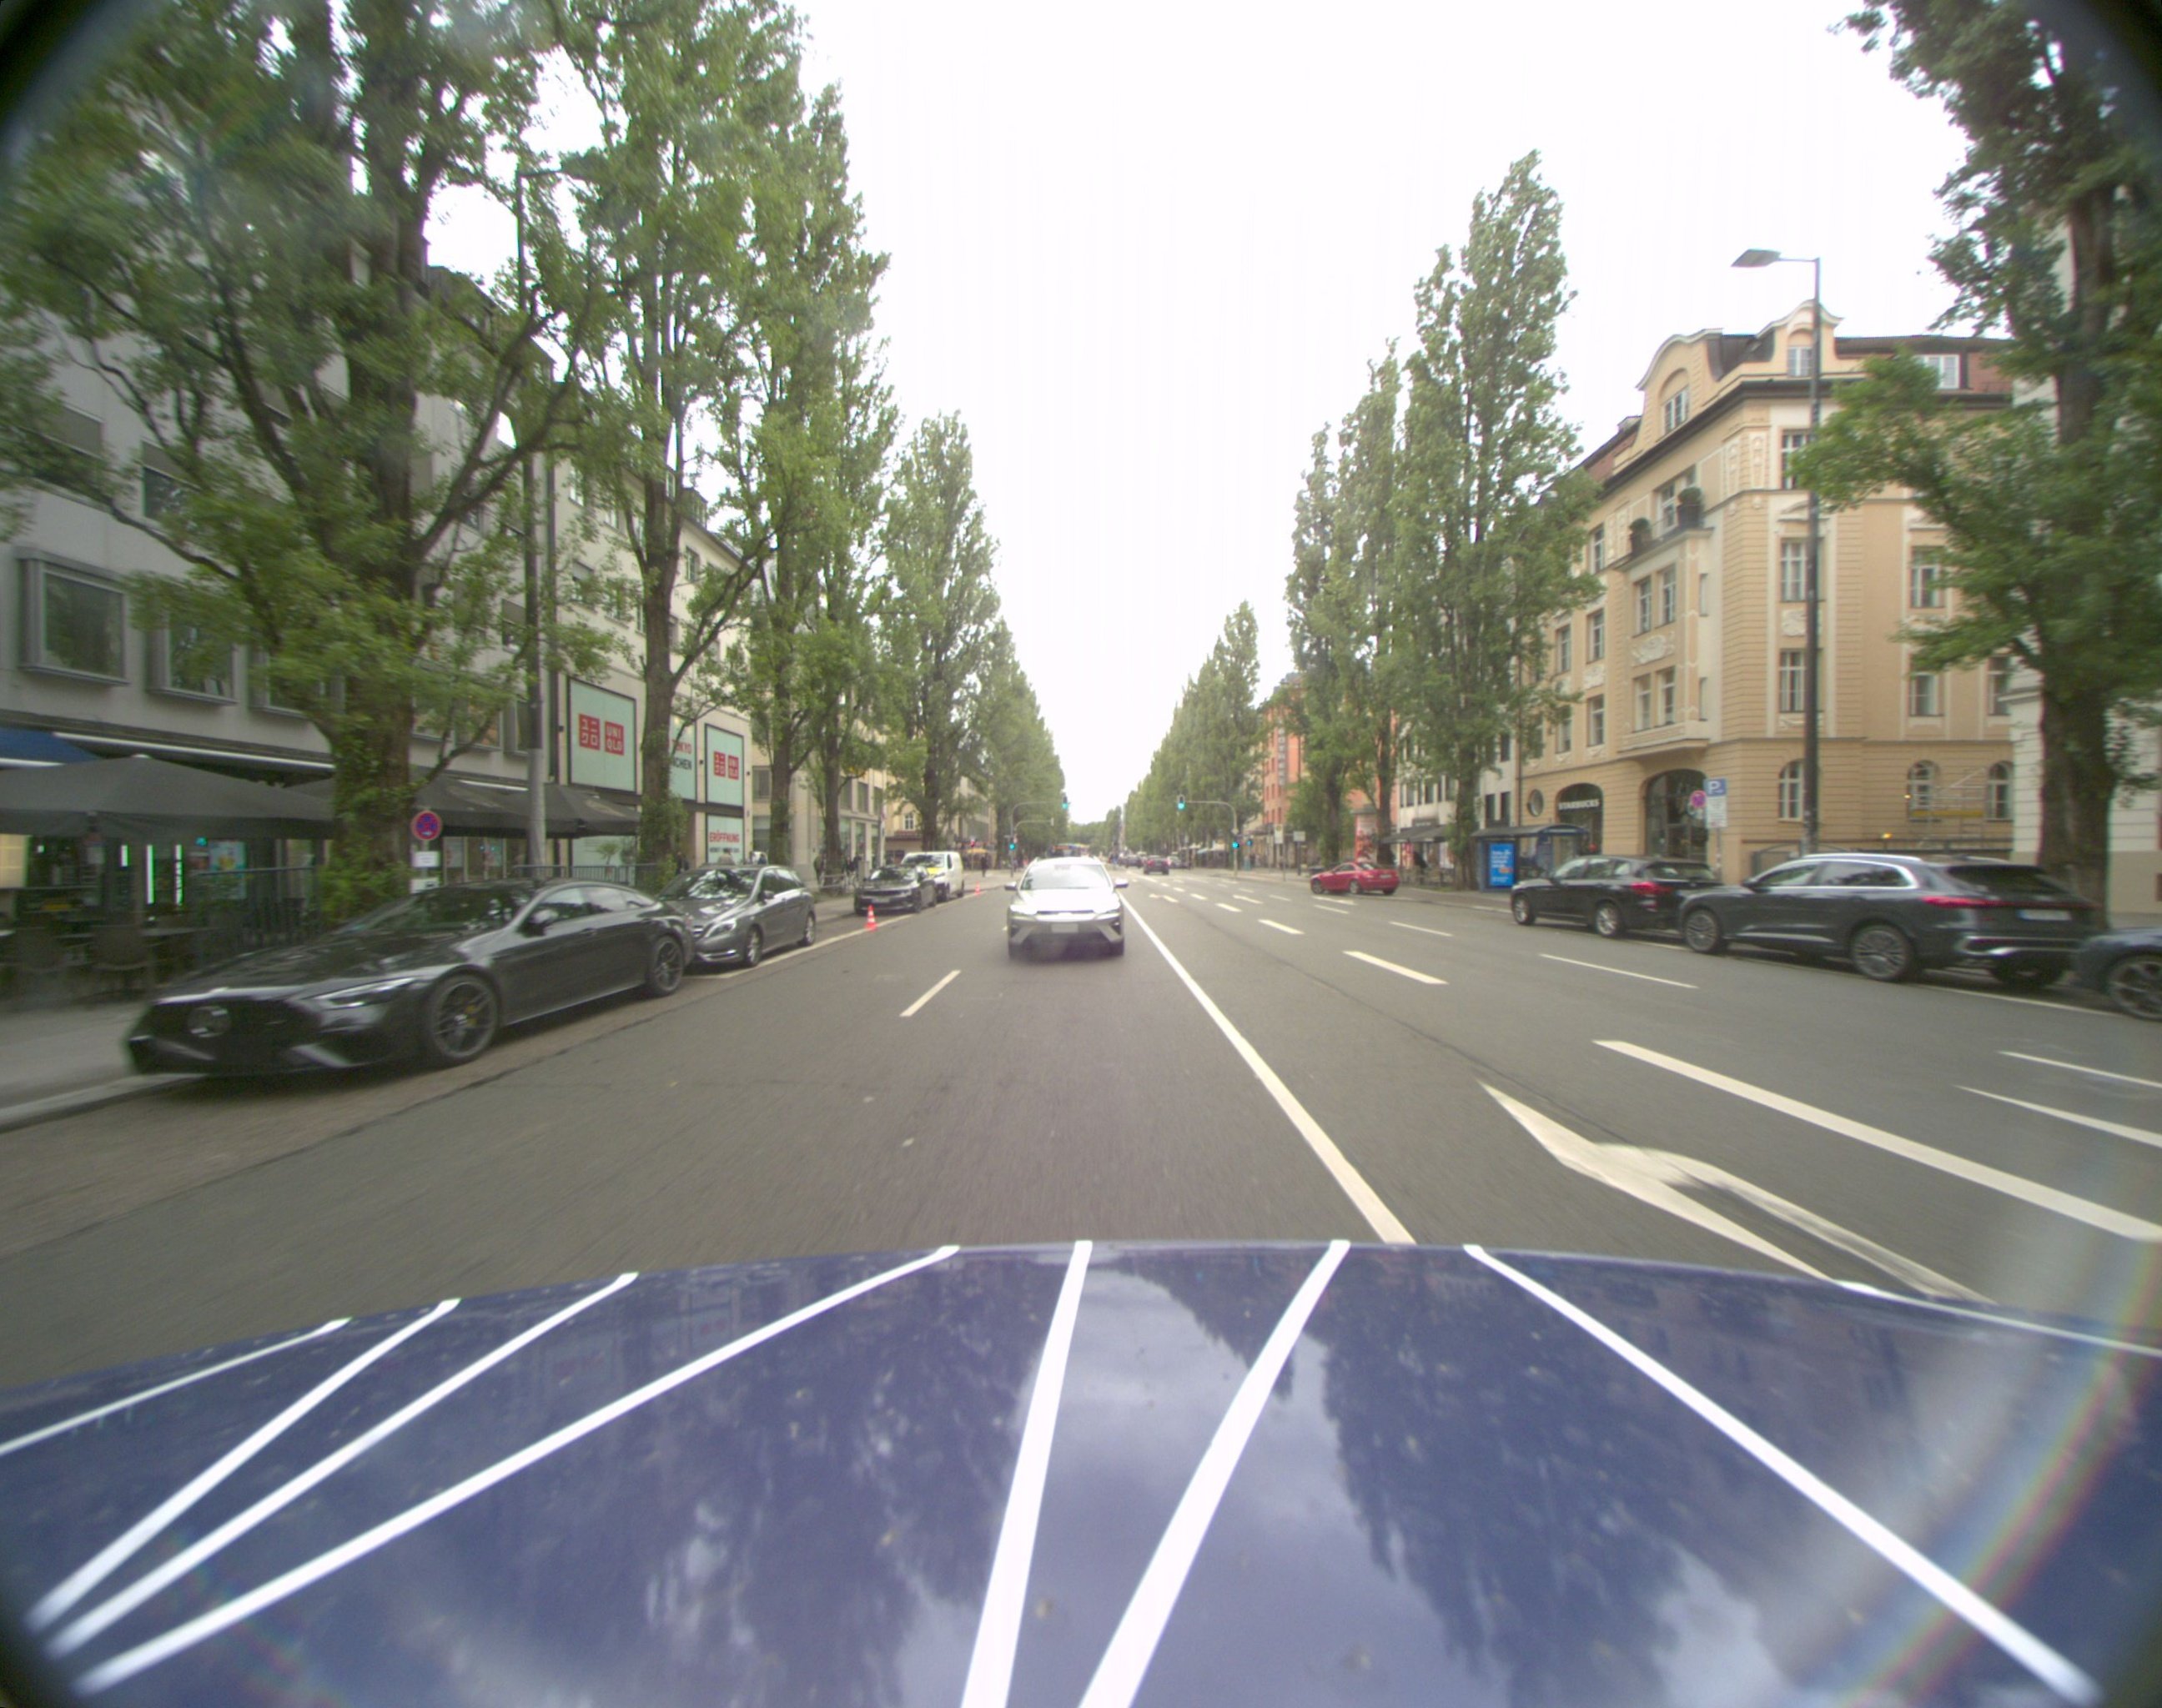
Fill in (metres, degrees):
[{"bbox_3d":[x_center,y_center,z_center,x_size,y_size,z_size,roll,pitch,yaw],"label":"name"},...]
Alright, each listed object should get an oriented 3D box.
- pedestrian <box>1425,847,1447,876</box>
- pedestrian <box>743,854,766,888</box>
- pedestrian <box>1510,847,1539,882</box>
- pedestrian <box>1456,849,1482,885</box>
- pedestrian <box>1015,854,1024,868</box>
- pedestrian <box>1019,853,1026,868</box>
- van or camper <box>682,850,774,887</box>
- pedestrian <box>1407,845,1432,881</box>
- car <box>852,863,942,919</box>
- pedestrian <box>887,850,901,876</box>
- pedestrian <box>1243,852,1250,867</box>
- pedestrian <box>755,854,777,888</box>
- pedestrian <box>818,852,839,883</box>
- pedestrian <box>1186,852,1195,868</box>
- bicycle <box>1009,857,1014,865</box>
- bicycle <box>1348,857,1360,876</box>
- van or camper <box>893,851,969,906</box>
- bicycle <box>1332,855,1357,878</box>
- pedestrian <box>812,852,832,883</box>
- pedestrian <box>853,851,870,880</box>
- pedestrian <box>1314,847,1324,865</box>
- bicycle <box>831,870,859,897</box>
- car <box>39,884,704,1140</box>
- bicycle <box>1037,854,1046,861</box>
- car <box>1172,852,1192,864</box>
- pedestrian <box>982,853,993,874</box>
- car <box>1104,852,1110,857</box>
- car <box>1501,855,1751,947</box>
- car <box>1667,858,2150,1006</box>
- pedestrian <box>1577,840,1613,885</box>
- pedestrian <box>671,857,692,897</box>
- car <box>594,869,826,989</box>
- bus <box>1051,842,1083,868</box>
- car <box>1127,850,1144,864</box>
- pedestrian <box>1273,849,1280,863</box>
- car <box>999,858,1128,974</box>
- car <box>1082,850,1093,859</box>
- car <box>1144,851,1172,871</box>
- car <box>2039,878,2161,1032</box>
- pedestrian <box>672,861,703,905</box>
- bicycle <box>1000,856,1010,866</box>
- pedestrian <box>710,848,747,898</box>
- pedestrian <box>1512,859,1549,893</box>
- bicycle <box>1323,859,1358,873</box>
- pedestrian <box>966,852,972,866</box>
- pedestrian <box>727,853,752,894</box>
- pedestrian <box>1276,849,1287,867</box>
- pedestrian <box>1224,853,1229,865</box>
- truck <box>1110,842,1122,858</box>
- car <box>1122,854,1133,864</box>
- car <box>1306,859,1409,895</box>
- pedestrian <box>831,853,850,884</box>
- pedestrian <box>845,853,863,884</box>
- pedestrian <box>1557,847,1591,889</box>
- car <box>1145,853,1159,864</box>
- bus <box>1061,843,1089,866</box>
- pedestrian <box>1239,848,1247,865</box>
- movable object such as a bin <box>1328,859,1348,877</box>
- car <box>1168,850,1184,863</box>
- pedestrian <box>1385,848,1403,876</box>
[{"bbox_3d":[21.671,0.427,46.400,0.845,1.734,0.954,-2,1,2],"label":"pedestrian"},{"bbox_3d":[-16.571,0.839,38.596,0.752,1.708,0.963,0,1,1],"label":"pedestrian"},{"bbox_3d":[20.334,0.460,34.833,0.752,1.558,0.989,-2,1,1],"label":"pedestrian"},{"bbox_3d":[18.749,0.623,36.717,0.908,1.734,0.820,-1,1,6],"label":"pedestrian"},{"bbox_3d":[-6.880,0.773,84.638,0.767,1.509,0.620,2,4,45],"label":"pedestrian"},{"bbox_3d":[-6.643,0.739,86.748,0.767,1.600,0.864,0,1,-3],"label":"pedestrian"},{"bbox_3d":[-19.413,0.795,41.898,4.113,1.856,1.898,-2,1,4],"label":"van or camper"},{"bbox_3d":[16.631,0.434,37.334,0.908,1.734,0.820,0,1,6],"label":"pedestrian"},{"bbox_3d":[-5.494,1.050,23.251,1.724,1.434,4.353,-3,0,-1],"label":"car"},{"bbox_3d":[-13.515,0.649,54.969,0.820,1.807,0.890,0,1,-1],"label":"pedestrian"},{"bbox_3d":[19.656,0.663,90.121,0.631,1.679,0.519,-2,1,2],"label":"pedestrian"},{"bbox_3d":[-15.773,0.829,38.036,0.653,1.653,0.963,0,1,1],"label":"pedestrian"},{"bbox_3d":[-13.930,0.742,41.945,0.752,1.667,0.963,0,1,2],"label":"pedestrian"},{"bbox_3d":[12.396,0.664,85.940,0.736,1.785,0.994,-2,1,19],"label":"pedestrian"},{"bbox_3d":[-8.537,0.883,93.695,0.510,1.042,1.770,0,0,-1],"label":"bicycle"},{"bbox_3d":[15.969,0.718,44.490,0.507,1.082,1.812,-1,1,24],"label":"bicycle"},{"bbox_3d":[-5.591,0.857,28.986,1.873,1.872,4.902,-1,0,0],"label":"van or camper"},{"bbox_3d":[16.009,0.764,46.140,1.958,1.282,0.507,-3,1,-42],"label":"bicycle"},{"bbox_3d":[-14.656,0.764,42.993,0.752,1.708,0.963,-1,1,2],"label":"pedestrian"},{"bbox_3d":[-14.135,0.723,48.980,0.820,1.807,0.890,0,1,-1],"label":"pedestrian"},{"bbox_3d":[23.240,0.211,74.311,0.780,1.756,0.692,-1,1,1],"label":"pedestrian"},{"bbox_3d":[-9.465,1.178,30.526,0.365,1.032,1.731,0,0,8],"label":"bicycle"},{"bbox_3d":[-5.742,1.110,7.286,1.883,1.424,4.803,0,0,-1],"label":"car"},{"bbox_3d":[-7.879,0.693,152.940,0.829,1.403,2.594,-2,0,-25],"label":"bicycle"},{"bbox_3d":[12.431,0.451,93.934,1.707,1.430,4.589,1,1,-1],"label":"car"},{"bbox_3d":[-7.695,0.789,62.629,0.710,1.748,0.752,-1,1,2],"label":"pedestrian"},{"bbox_3d":[8.879,0.263,257.615,1.848,1.626,4.575,1,0,1],"label":"car"},{"bbox_3d":[11.070,0.842,15.975,1.825,1.608,4.715,0,0,-1],"label":"car"},{"bbox_3d":[10.979,0.886,10.762,1.807,1.585,4.630,0,0,1],"label":"car"},{"bbox_3d":[21.151,0.344,31.282,0.802,1.777,0.912,-2,1,1],"label":"pedestrian"},{"bbox_3d":[-16.445,0.936,31.269,0.673,1.600,0.826,-1,1,-33],"label":"pedestrian"},{"bbox_3d":[-5.665,1.045,12.291,1.821,1.497,4.231,0,0,-3],"label":"car"},{"bbox_3d":[-1.512,0.103,90.242,2.805,2.886,12.860,0,0,3],"label":"bus"},{"bbox_3d":[7.180,0.354,99.897,1.918,1.671,4.586,1,0,0],"label":"car"},{"bbox_3d":[22.169,0.222,86.158,0.588,1.681,0.514,0,1,1],"label":"pedestrian"},{"bbox_3d":[-0.250,0.899,12.796,1.758,1.529,3.916,-3,0,0],"label":"car"},{"bbox_3d":[1.223,0.121,149.744,2.052,1.671,4.586,1,0,0],"label":"car"},{"bbox_3d":[6.602,0.574,65.451,1.940,1.614,4.336,1,0,0],"label":"car"},{"bbox_3d":[11.077,0.994,5.707,1.689,1.416,4.686,1,0,-3],"label":"car"},{"bbox_3d":[-14.820,1.073,28.616,0.671,1.600,0.771,-2,1,4],"label":"pedestrian"},{"bbox_3d":[-9.058,0.843,91.030,0.405,1.064,1.813,-6,0,16],"label":"bicycle"},{"bbox_3d":[-13.262,0.703,28.600,0.828,1.830,1.099,0,1,1],"label":"pedestrian"},{"bbox_3d":[16.970,0.810,28.711,0.963,1.249,0.757,-1,1,2],"label":"pedestrian"},{"bbox_3d":[16.836,0.770,49.295,1.956,0.510,0.826,-2,22,-17],"label":"bicycle"},{"bbox_3d":[-13.482,0.635,91.317,0.541,1.664,0.537,0,1,8],"label":"pedestrian"},{"bbox_3d":[-14.919,0.850,33.239,0.684,1.754,0.867,-1,1,-1],"label":"pedestrian"},{"bbox_3d":[18.375,0.396,69.593,0.780,1.609,0.934,0,1,0],"label":"pedestrian"},{"bbox_3d":[20.932,0.735,109.103,0.556,1.708,0.692,0,1,0],"label":"pedestrian"},{"bbox_3d":[7.902,-0.973,173.726,2.469,3.649,8.438,0,1,1],"label":"truck"},{"bbox_3d":[7.357,0.753,121.281,1.565,1.487,3.694,1,0,0],"label":"car"},{"bbox_3d":[11.047,0.883,30.689,1.886,1.290,4.088,0,0,-16],"label":"car"},{"bbox_3d":[-14.088,0.850,44.515,0.752,1.748,0.859,0,3,2],"label":"pedestrian"},{"bbox_3d":[-13.294,0.824,44.495,0.752,1.748,0.859,0,3,2],"label":"pedestrian"},{"bbox_3d":[20.344,0.577,31.344,0.734,1.672,0.977,-2,1,1],"label":"pedestrian"},{"bbox_3d":[10.236,0.614,109.206,1.646,1.431,3.997,1,0,0],"label":"car"},{"bbox_3d":[-0.737,0.054,103.095,2.805,2.886,12.861,0,0,4],"label":"bus"},{"bbox_3d":[17.213,0.262,80.731,0.726,1.761,0.778,-1,1,2],"label":"pedestrian"},{"bbox_3d":[15.160,0.813,44.838,0.725,1.035,0.853,-2,1,-28],"label":"movable object such as a bin"},{"bbox_3d":[12.694,0.323,101.991,1.707,1.574,4.095,1,1,1],"label":"car"},{"bbox_3d":[20.157,0.499,48.893,0.729,1.730,0.942,-2,1,0],"label":"pedestrian"}]
